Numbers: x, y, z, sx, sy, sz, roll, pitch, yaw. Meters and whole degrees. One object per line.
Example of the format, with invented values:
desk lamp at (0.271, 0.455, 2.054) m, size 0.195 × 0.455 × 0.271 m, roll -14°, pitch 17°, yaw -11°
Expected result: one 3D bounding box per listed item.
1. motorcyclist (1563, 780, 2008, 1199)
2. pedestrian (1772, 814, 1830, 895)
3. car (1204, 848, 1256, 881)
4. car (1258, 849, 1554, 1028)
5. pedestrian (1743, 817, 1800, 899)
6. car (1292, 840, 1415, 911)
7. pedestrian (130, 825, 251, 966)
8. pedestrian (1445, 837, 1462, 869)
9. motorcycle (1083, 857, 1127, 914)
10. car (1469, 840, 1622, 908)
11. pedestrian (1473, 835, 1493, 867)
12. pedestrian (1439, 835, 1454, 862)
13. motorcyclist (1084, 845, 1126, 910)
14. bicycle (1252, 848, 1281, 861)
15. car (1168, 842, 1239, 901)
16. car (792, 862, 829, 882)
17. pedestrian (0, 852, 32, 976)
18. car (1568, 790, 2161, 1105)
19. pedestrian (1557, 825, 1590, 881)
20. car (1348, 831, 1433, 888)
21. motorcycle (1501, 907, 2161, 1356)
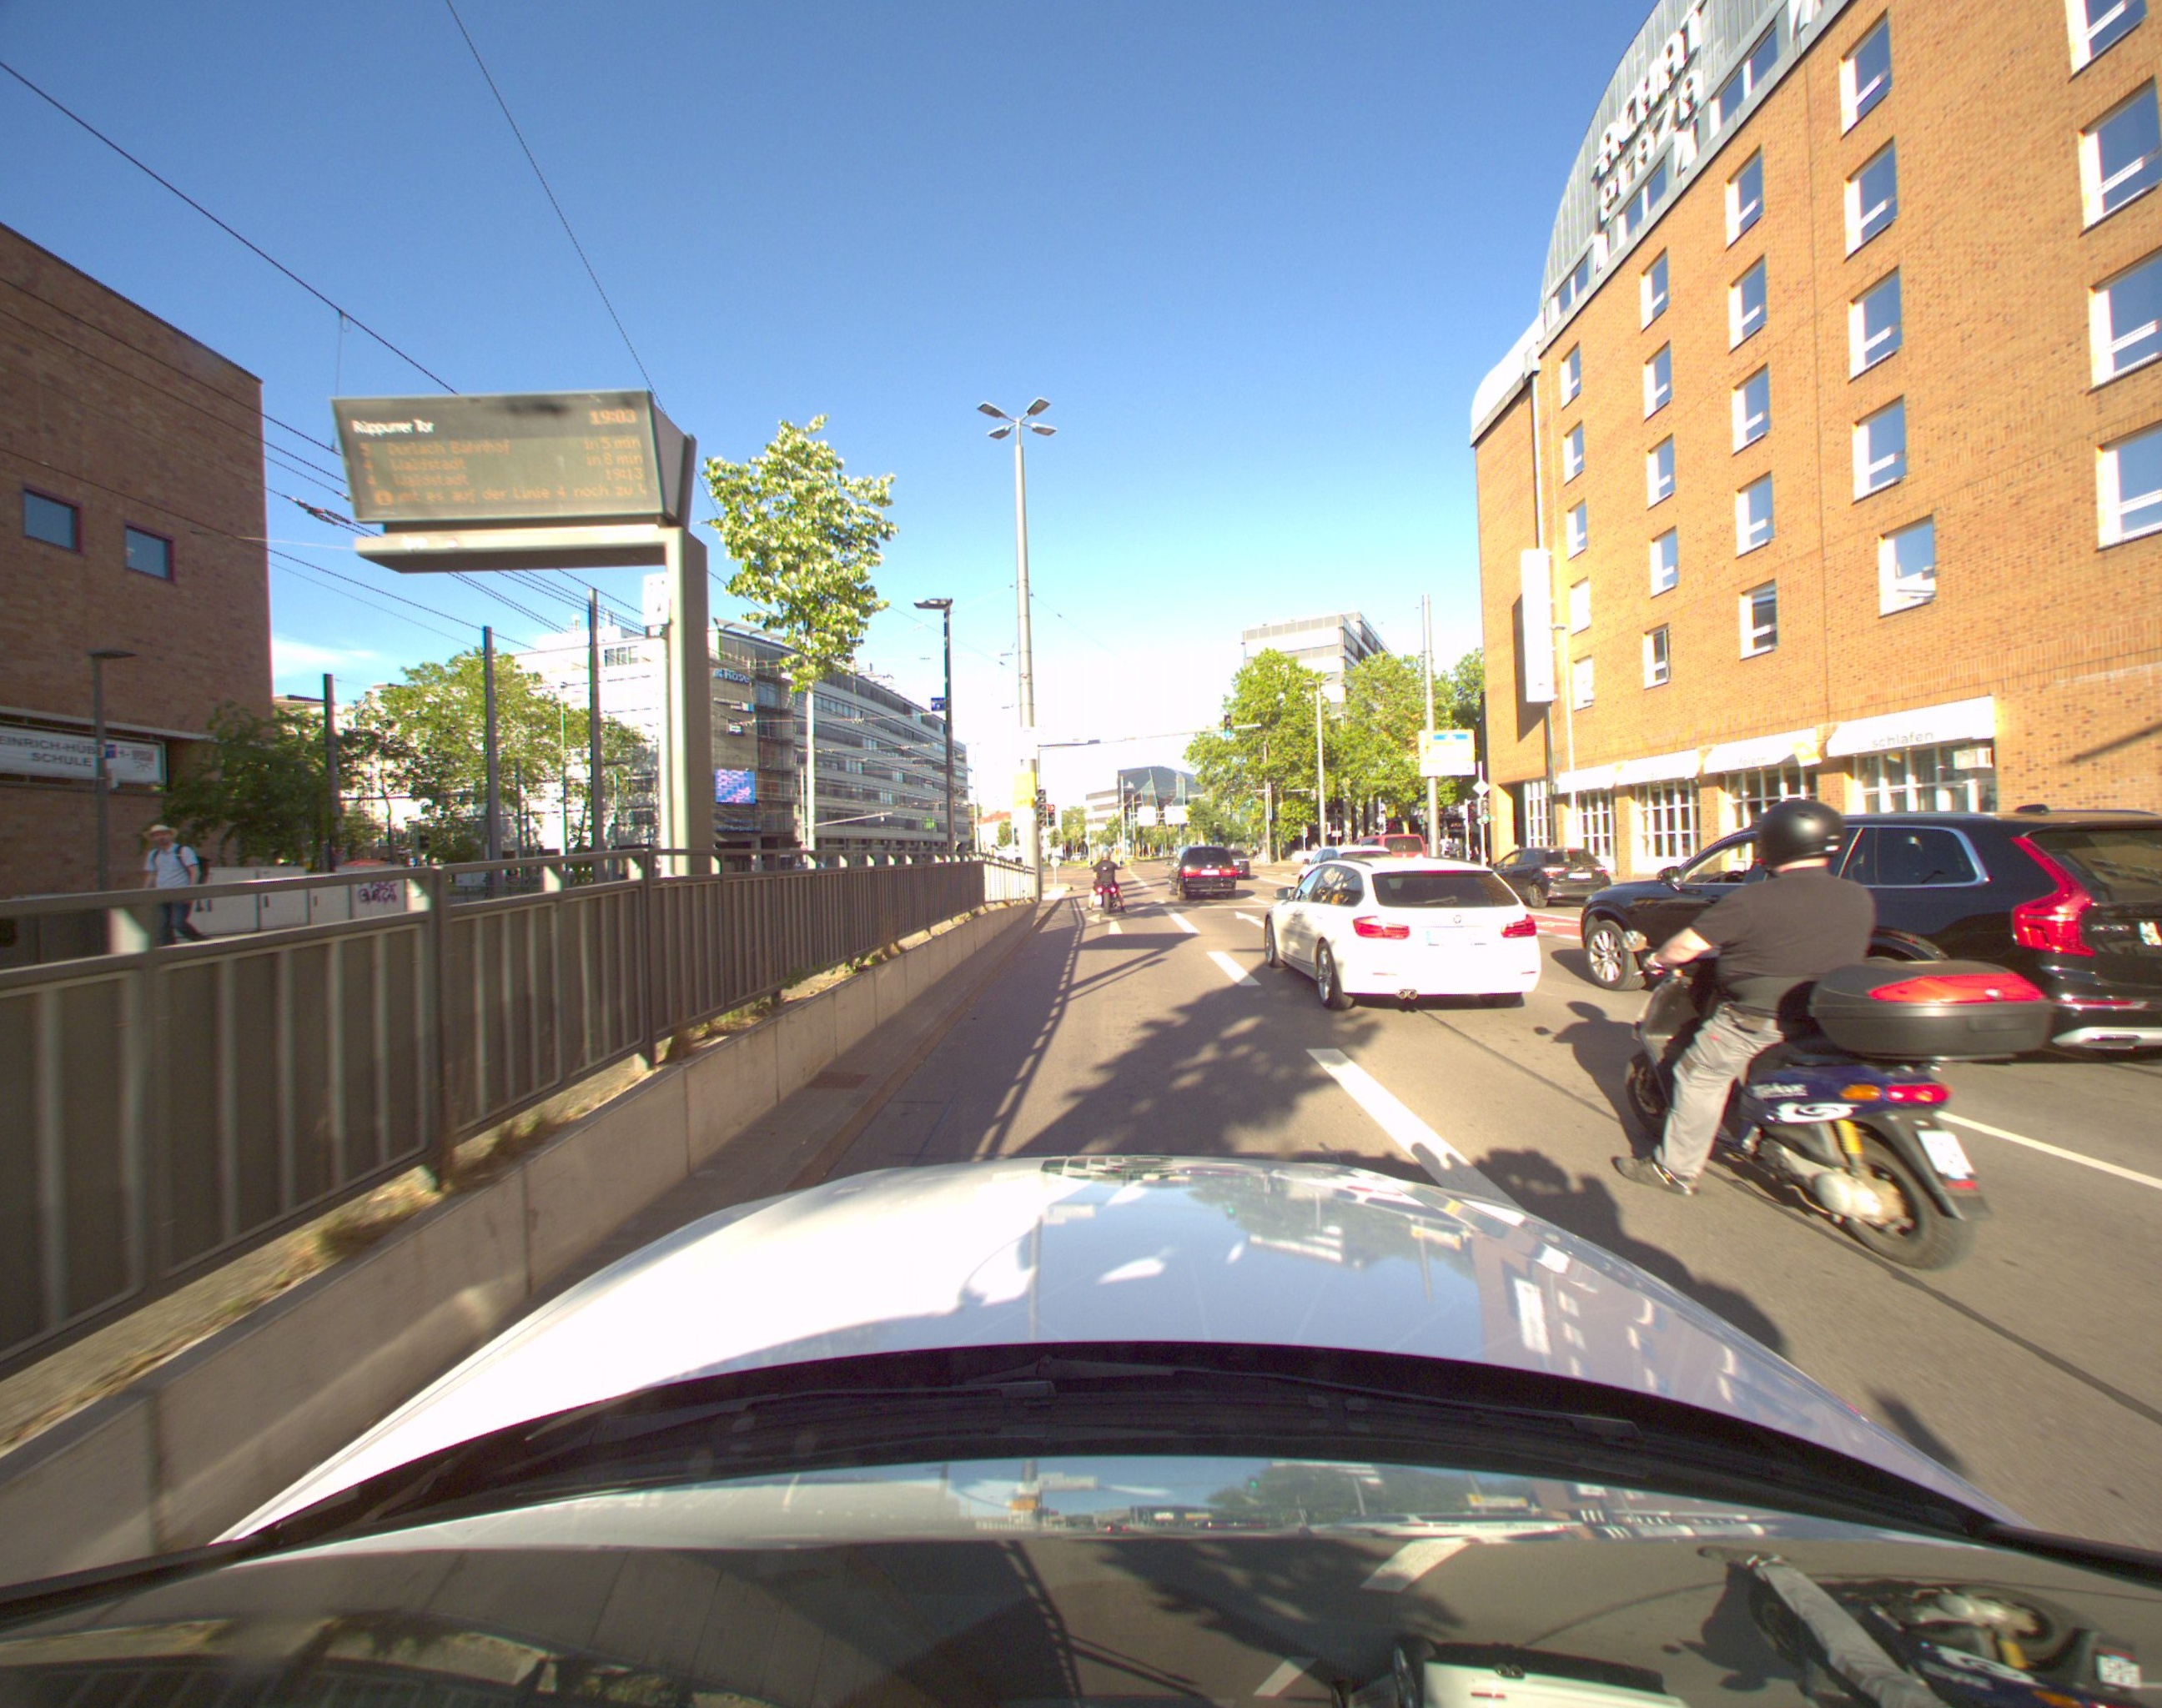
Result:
motorcyclist at (2.898, 0.483, 3.546) m, size 0.834 × 1.475 × 1.236 m, roll -2°, pitch 0°, yaw 0°
pedestrian at (16.539, 0.014, 18.715) m, size 0.604 × 1.821 × 0.748 m, roll -2°, pitch -1°, yaw 1°
car at (7.274, 0.465, 40.127) m, size 1.844 × 1.497 × 4.381 m, roll -1°, pitch 0°, yaw 2°
car at (3.206, 0.704, 9.050) m, size 1.686 × 1.497 × 4.411 m, roll 0°, pitch 0°, yaw 2°
pedestrian at (15.761, 0.084, 18.597) m, size 0.604 × 1.821 × 0.748 m, roll -2°, pitch -1°, yaw 1°
car at (6.994, 0.488, 21.378) m, size 1.844 × 1.639 × 4.381 m, roll -1°, pitch 0°, yaw 2°
pedestrian at (-12.005, 0.539, 11.008) m, size 0.611 × 1.817 × 0.897 m, roll -1°, pitch 0°, yaw 2°
pedestrian at (19.488, -0.061, 42.634) m, size 0.681 × 1.661 × 0.520 m, roll 0°, pitch 0°, yaw 2°
motorcycle at (0.617, 0.753, 20.529) m, size 1.015 × 1.312 × 2.916 m, roll 0°, pitch 0°, yaw 2°
car at (11.726, 0.459, 20.872) m, size 1.661 × 1.530 × 4.001 m, roll -2°, pitch 0°, yaw 1°
pedestrian at (21.416, -0.152, 43.427) m, size 0.823 × 1.661 × 0.520 m, roll 0°, pitch 0°, yaw 2°
pedestrian at (22.071, -0.325, 49.177) m, size 0.694 × 1.661 × 0.520 m, roll 0°, pitch 0°, yaw 2°
motorcyclist at (0.615, 0.579, 20.634) m, size 1.015 × 1.603 × 1.149 m, roll 0°, pitch 0°, yaw 2°
bicycle at (18.172, 0.035, 79.947) m, size 2.666 × 1.244 × 0.531 m, roll -2°, pitch 0°, yaw 24°
car at (3.836, 0.510, 26.186) m, size 1.791 × 1.705 × 4.065 m, roll -1°, pitch 0°, yaw 2°
car at (-21.860, 1.409, 65.892) m, size 1.991 × 1.464 × 3.992 m, roll -2°, pitch 0°, yaw -6°
pedestrian at (-14.291, 0.778, 10.565) m, size 0.561 × 1.609 × 0.616 m, roll -1°, pitch 0°, yaw 2°
car at (6.402, 0.519, 6.863) m, size 1.967 × 1.759 × 4.635 m, roll 0°, pitch 0°, yaw 2°
pedestrian at (16.522, -0.023, 27.337) m, size 0.604 × 1.821 × 0.748 m, roll -2°, pitch -1°, yaw 1°
car at (11.687, 0.190, 31.057) m, size 1.852 × 1.961 × 4.003 m, roll -2°, pitch 0°, yaw 3°
motorcycle at (2.922, 0.869, 3.581) m, size 0.834 × 1.062 × 2.553 m, roll -2°, pitch 0°, yaw 1°
